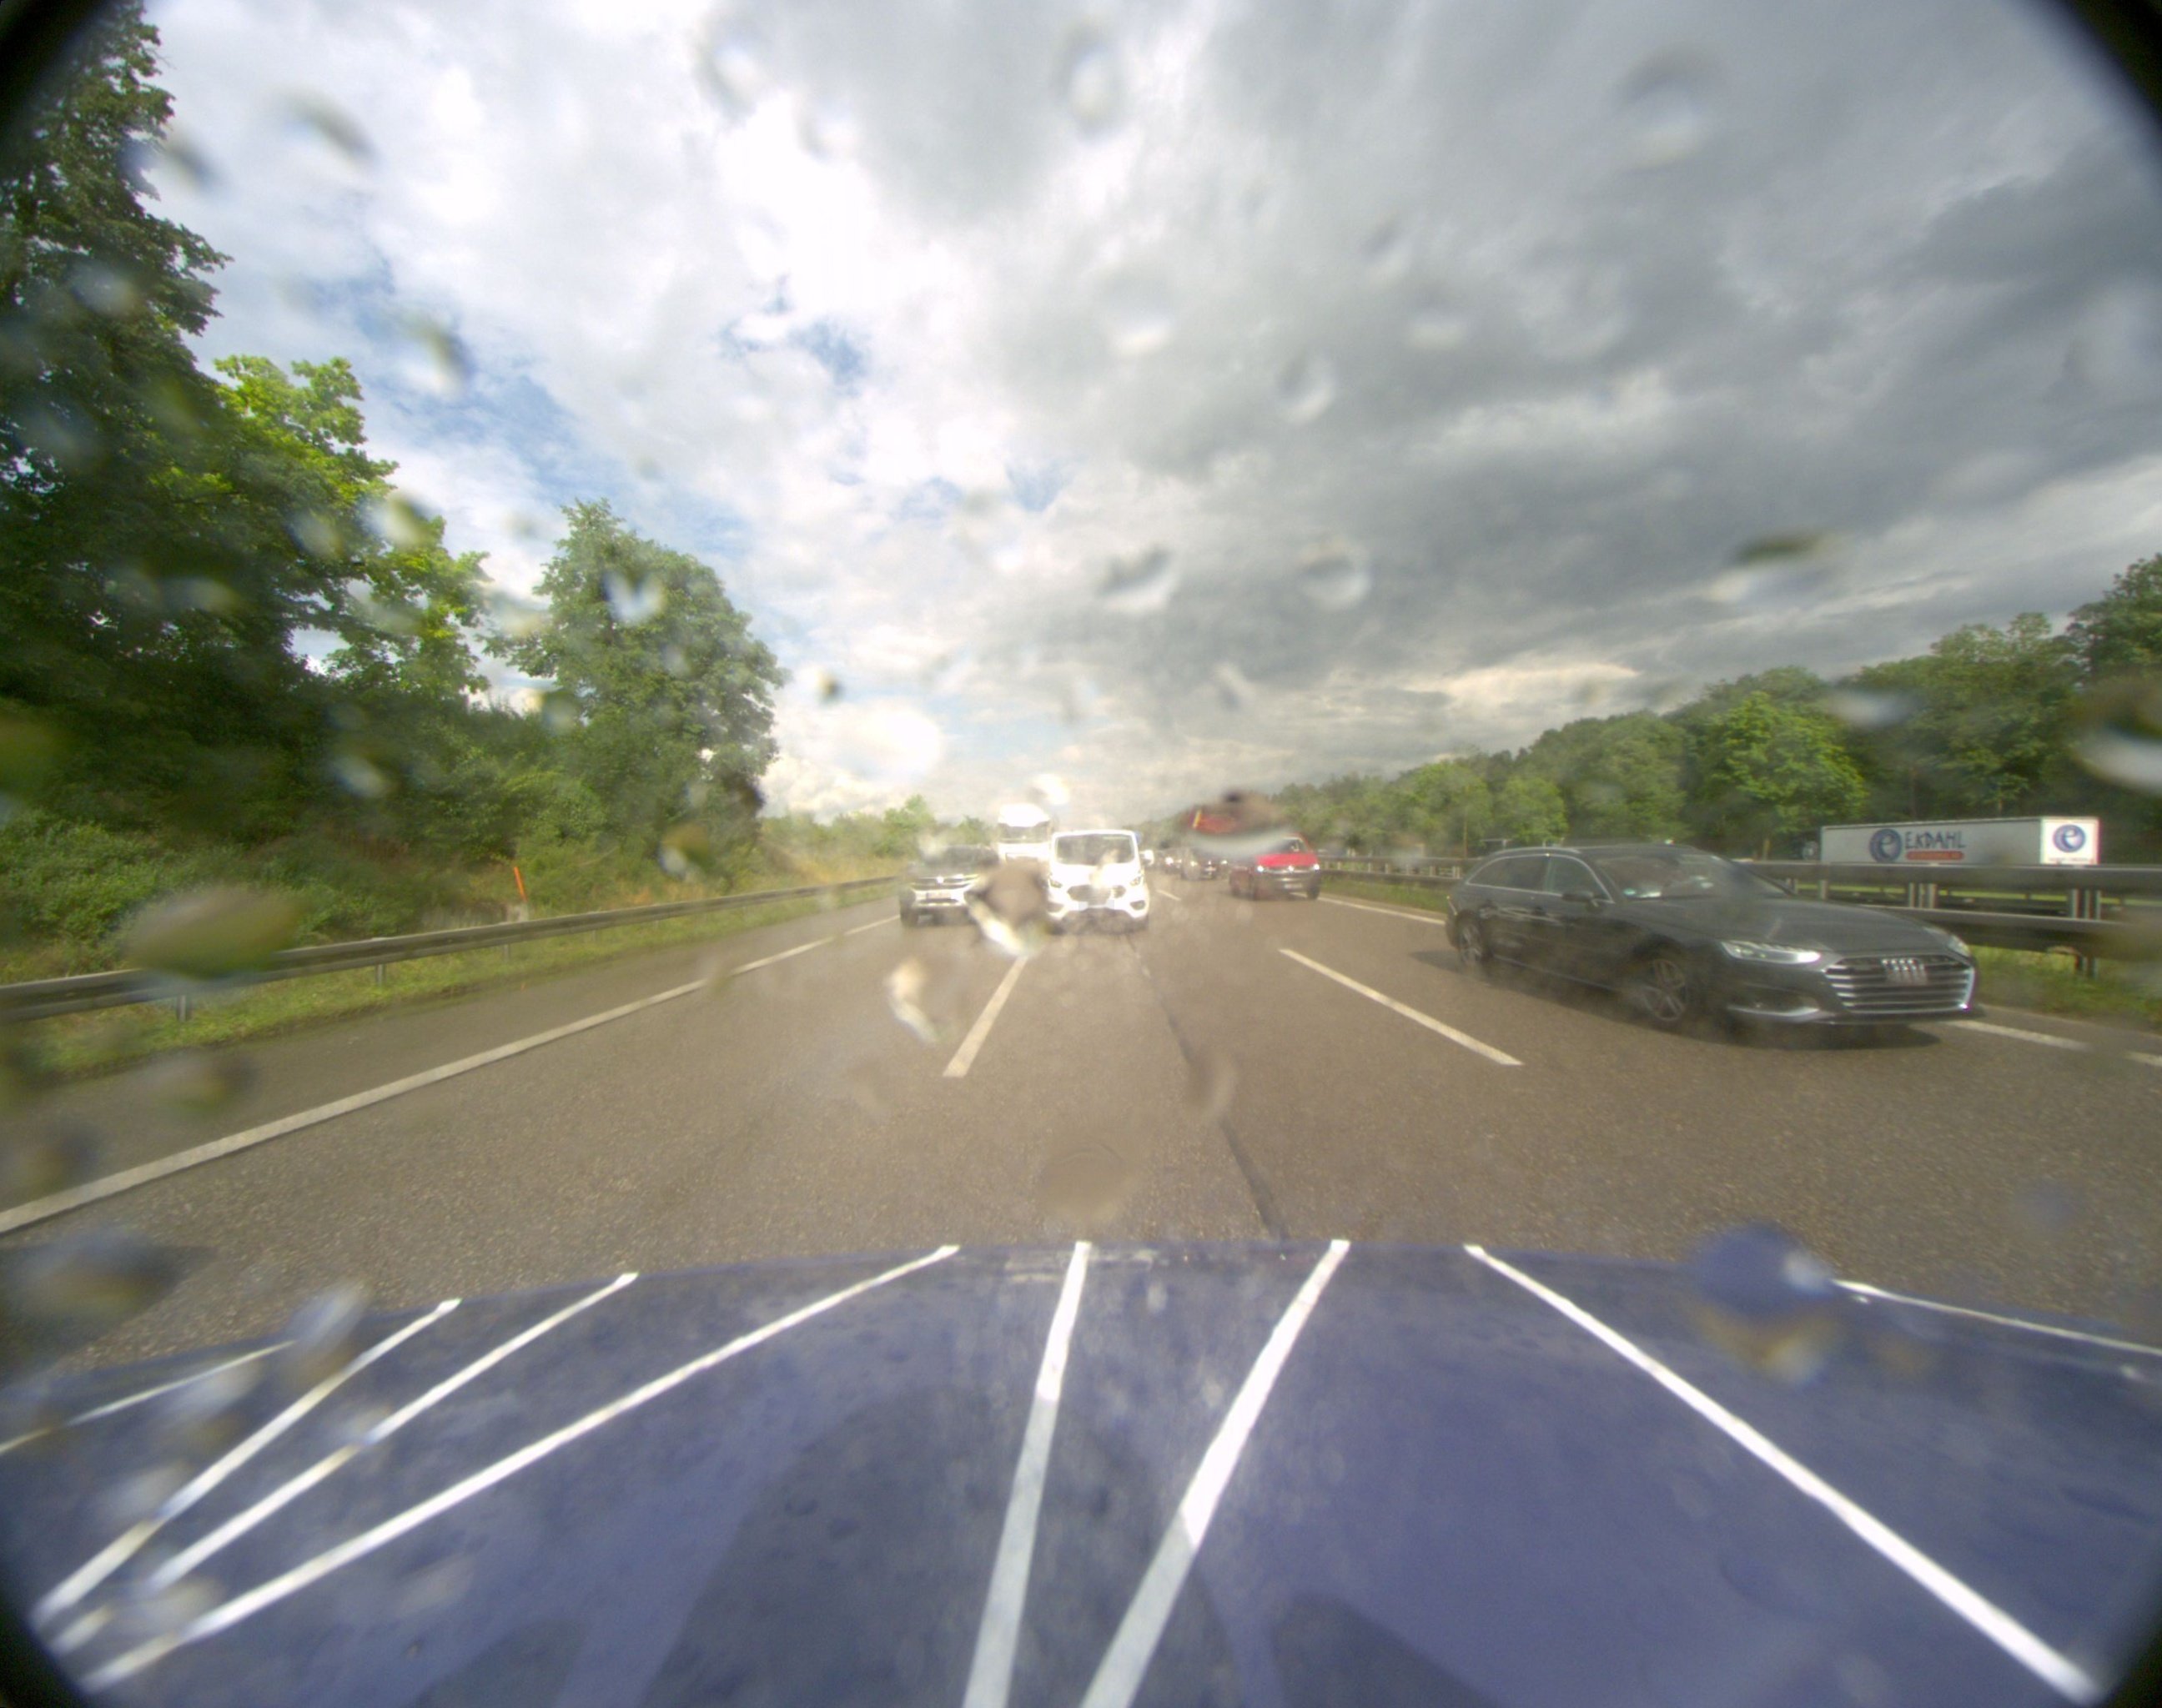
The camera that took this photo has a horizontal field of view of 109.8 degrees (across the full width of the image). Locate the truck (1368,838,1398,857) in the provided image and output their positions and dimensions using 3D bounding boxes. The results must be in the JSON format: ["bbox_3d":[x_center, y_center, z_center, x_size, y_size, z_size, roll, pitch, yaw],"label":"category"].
[{"bbox_3d":[55.620,-1.214,139.937,3.182,3.237,5.389,0,1,-2],"label":"truck"}]

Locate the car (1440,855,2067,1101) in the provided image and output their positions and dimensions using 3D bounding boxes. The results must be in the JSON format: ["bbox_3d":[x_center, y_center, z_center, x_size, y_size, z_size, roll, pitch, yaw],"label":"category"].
[{"bbox_3d":[5.167,0.762,6.871,1.723,1.403,4.467,-2,1,0],"label":"car"}]

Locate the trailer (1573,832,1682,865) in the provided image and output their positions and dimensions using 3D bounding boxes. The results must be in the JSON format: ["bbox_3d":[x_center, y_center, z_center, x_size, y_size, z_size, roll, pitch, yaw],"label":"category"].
[{"bbox_3d":[56.501,-0.552,79.139,3.026,3.174,12.175,0,1,2],"label":"trailer"}]

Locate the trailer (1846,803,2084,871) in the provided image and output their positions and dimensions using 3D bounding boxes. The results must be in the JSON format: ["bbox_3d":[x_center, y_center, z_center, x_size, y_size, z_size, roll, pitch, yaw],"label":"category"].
[{"bbox_3d":[52.510,-0.931,45.943,2.186,3.579,11.725,0,1,8],"label":"trailer"}]

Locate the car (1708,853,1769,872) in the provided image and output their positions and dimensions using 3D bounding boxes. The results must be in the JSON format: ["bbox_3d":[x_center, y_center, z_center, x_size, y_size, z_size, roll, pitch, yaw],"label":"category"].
[{"bbox_3d":[55.294,0.691,63.967,1.899,1.494,4.001,0,1,5],"label":"car"}]

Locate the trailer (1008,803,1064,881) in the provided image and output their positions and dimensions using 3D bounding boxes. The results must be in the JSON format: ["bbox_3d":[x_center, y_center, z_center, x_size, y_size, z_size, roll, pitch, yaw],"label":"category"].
[{"bbox_3d":[-2.540,-0.705,46.617,2.451,4.095,12.214,-2,1,0],"label":"trailer"}]

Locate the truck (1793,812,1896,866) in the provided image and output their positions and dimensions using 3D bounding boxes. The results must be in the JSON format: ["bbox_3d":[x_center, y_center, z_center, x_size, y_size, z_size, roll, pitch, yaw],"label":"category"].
[{"bbox_3d":[53.549,-0.991,53.467,2.167,3.599,5.581,0,1,8],"label":"truck"}]

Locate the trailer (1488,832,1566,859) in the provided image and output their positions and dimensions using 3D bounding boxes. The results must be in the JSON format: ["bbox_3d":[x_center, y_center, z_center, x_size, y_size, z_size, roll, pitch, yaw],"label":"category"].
[{"bbox_3d":[57.091,-1.035,97.737,2.611,3.253,12.646,0,1,0],"label":"trailer"}]

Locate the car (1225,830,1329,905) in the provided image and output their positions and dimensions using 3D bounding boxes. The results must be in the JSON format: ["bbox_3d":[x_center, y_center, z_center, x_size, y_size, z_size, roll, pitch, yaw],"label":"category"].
[{"bbox_3d":[5.746,0.346,22.943,1.895,1.973,4.750,-2,0,0],"label":"car"}]

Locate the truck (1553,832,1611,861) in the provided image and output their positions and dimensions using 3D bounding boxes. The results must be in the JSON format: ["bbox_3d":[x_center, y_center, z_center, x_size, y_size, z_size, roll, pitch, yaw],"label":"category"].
[{"bbox_3d":[56.797,-0.892,86.328,3.049,3.166,5.597,0,1,2],"label":"truck"}]

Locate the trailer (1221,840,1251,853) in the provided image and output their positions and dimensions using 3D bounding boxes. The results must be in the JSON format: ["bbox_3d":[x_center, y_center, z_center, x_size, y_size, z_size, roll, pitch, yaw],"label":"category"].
[{"bbox_3d":[42.299,-2.107,208.038,2.707,3.492,13.403,0,1,-14],"label":"trailer"}]

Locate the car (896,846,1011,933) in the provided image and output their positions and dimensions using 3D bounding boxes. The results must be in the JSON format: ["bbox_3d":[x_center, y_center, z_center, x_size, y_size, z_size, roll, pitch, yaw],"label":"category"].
[{"bbox_3d":[-2.903,0.723,18.561,1.831,1.793,5.305,-1,1,0],"label":"car"}]

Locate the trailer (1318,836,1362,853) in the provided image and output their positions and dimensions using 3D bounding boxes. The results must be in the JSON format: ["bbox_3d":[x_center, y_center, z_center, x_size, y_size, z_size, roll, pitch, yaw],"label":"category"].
[{"bbox_3d":[53.340,-1.955,157.048,3.085,3.253,13.400,0,1,-6],"label":"trailer"}]

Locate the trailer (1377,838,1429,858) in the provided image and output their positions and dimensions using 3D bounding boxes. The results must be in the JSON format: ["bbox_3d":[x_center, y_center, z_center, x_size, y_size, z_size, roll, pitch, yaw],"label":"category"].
[{"bbox_3d":[55.883,-1.105,132.279,3.193,3.253,12.644,0,1,-2],"label":"trailer"}]

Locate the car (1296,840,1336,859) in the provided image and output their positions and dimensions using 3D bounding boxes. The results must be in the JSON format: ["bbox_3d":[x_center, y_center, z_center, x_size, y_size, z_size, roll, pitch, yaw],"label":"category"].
[{"bbox_3d":[18.245,-0.351,59.158,1.806,1.329,4.410,-2,1,1],"label":"car"}]

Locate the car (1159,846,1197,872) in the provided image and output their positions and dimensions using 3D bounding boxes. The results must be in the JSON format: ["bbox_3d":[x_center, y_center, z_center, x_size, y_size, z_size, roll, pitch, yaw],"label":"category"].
[{"bbox_3d":[6.192,0.293,48.945,1.895,1.558,4.053,-2,1,0],"label":"car"}]

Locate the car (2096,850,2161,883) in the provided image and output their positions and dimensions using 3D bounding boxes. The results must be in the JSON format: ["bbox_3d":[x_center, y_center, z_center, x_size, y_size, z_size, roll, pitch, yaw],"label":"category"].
[{"bbox_3d":[50.269,0.583,35.017,1.898,1.494,4.002,0,1,8],"label":"car"}]

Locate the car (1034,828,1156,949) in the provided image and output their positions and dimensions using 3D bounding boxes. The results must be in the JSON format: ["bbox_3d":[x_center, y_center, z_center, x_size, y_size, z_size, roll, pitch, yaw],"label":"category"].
[{"bbox_3d":[0.253,0.566,15.419,1.985,1.973,5.168,-2,0,0],"label":"car"}]

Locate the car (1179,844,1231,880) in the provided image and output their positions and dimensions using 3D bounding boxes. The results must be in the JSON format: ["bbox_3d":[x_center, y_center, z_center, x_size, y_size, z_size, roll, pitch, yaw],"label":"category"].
[{"bbox_3d":[6.141,0.375,38.196,1.895,1.660,4.294,-2,1,0],"label":"car"}]

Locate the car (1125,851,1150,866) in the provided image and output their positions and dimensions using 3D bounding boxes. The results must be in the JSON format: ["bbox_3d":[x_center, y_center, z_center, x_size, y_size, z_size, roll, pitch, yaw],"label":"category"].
[{"bbox_3d":[4.987,0.356,67.753,1.888,1.228,4.506,-2,0,0],"label":"car"}]

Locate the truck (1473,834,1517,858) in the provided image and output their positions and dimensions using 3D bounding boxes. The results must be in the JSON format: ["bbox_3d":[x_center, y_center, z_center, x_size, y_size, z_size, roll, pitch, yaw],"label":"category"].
[{"bbox_3d":[57.112,-1.119,105.010,2.582,3.232,6.535,0,1,0],"label":"truck"}]

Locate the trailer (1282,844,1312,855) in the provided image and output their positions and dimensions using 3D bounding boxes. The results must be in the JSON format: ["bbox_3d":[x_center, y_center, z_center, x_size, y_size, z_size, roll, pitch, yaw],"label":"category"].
[{"bbox_3d":[50.433,-1.097,177.613,2.537,2.559,9.869,-2,1,-11],"label":"trailer"}]

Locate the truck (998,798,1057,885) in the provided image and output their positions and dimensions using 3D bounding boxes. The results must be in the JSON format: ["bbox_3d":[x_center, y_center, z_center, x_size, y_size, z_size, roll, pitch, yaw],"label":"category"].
[{"bbox_3d":[-2.630,-0.591,38.968,2.460,4.080,5.332,-2,0,0],"label":"truck"}]

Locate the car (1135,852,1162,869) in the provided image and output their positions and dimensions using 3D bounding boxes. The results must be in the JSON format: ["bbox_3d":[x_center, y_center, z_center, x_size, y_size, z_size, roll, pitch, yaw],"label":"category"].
[{"bbox_3d":[5.253,0.478,59.491,1.675,1.228,3.999,-2,0,0],"label":"car"}]
